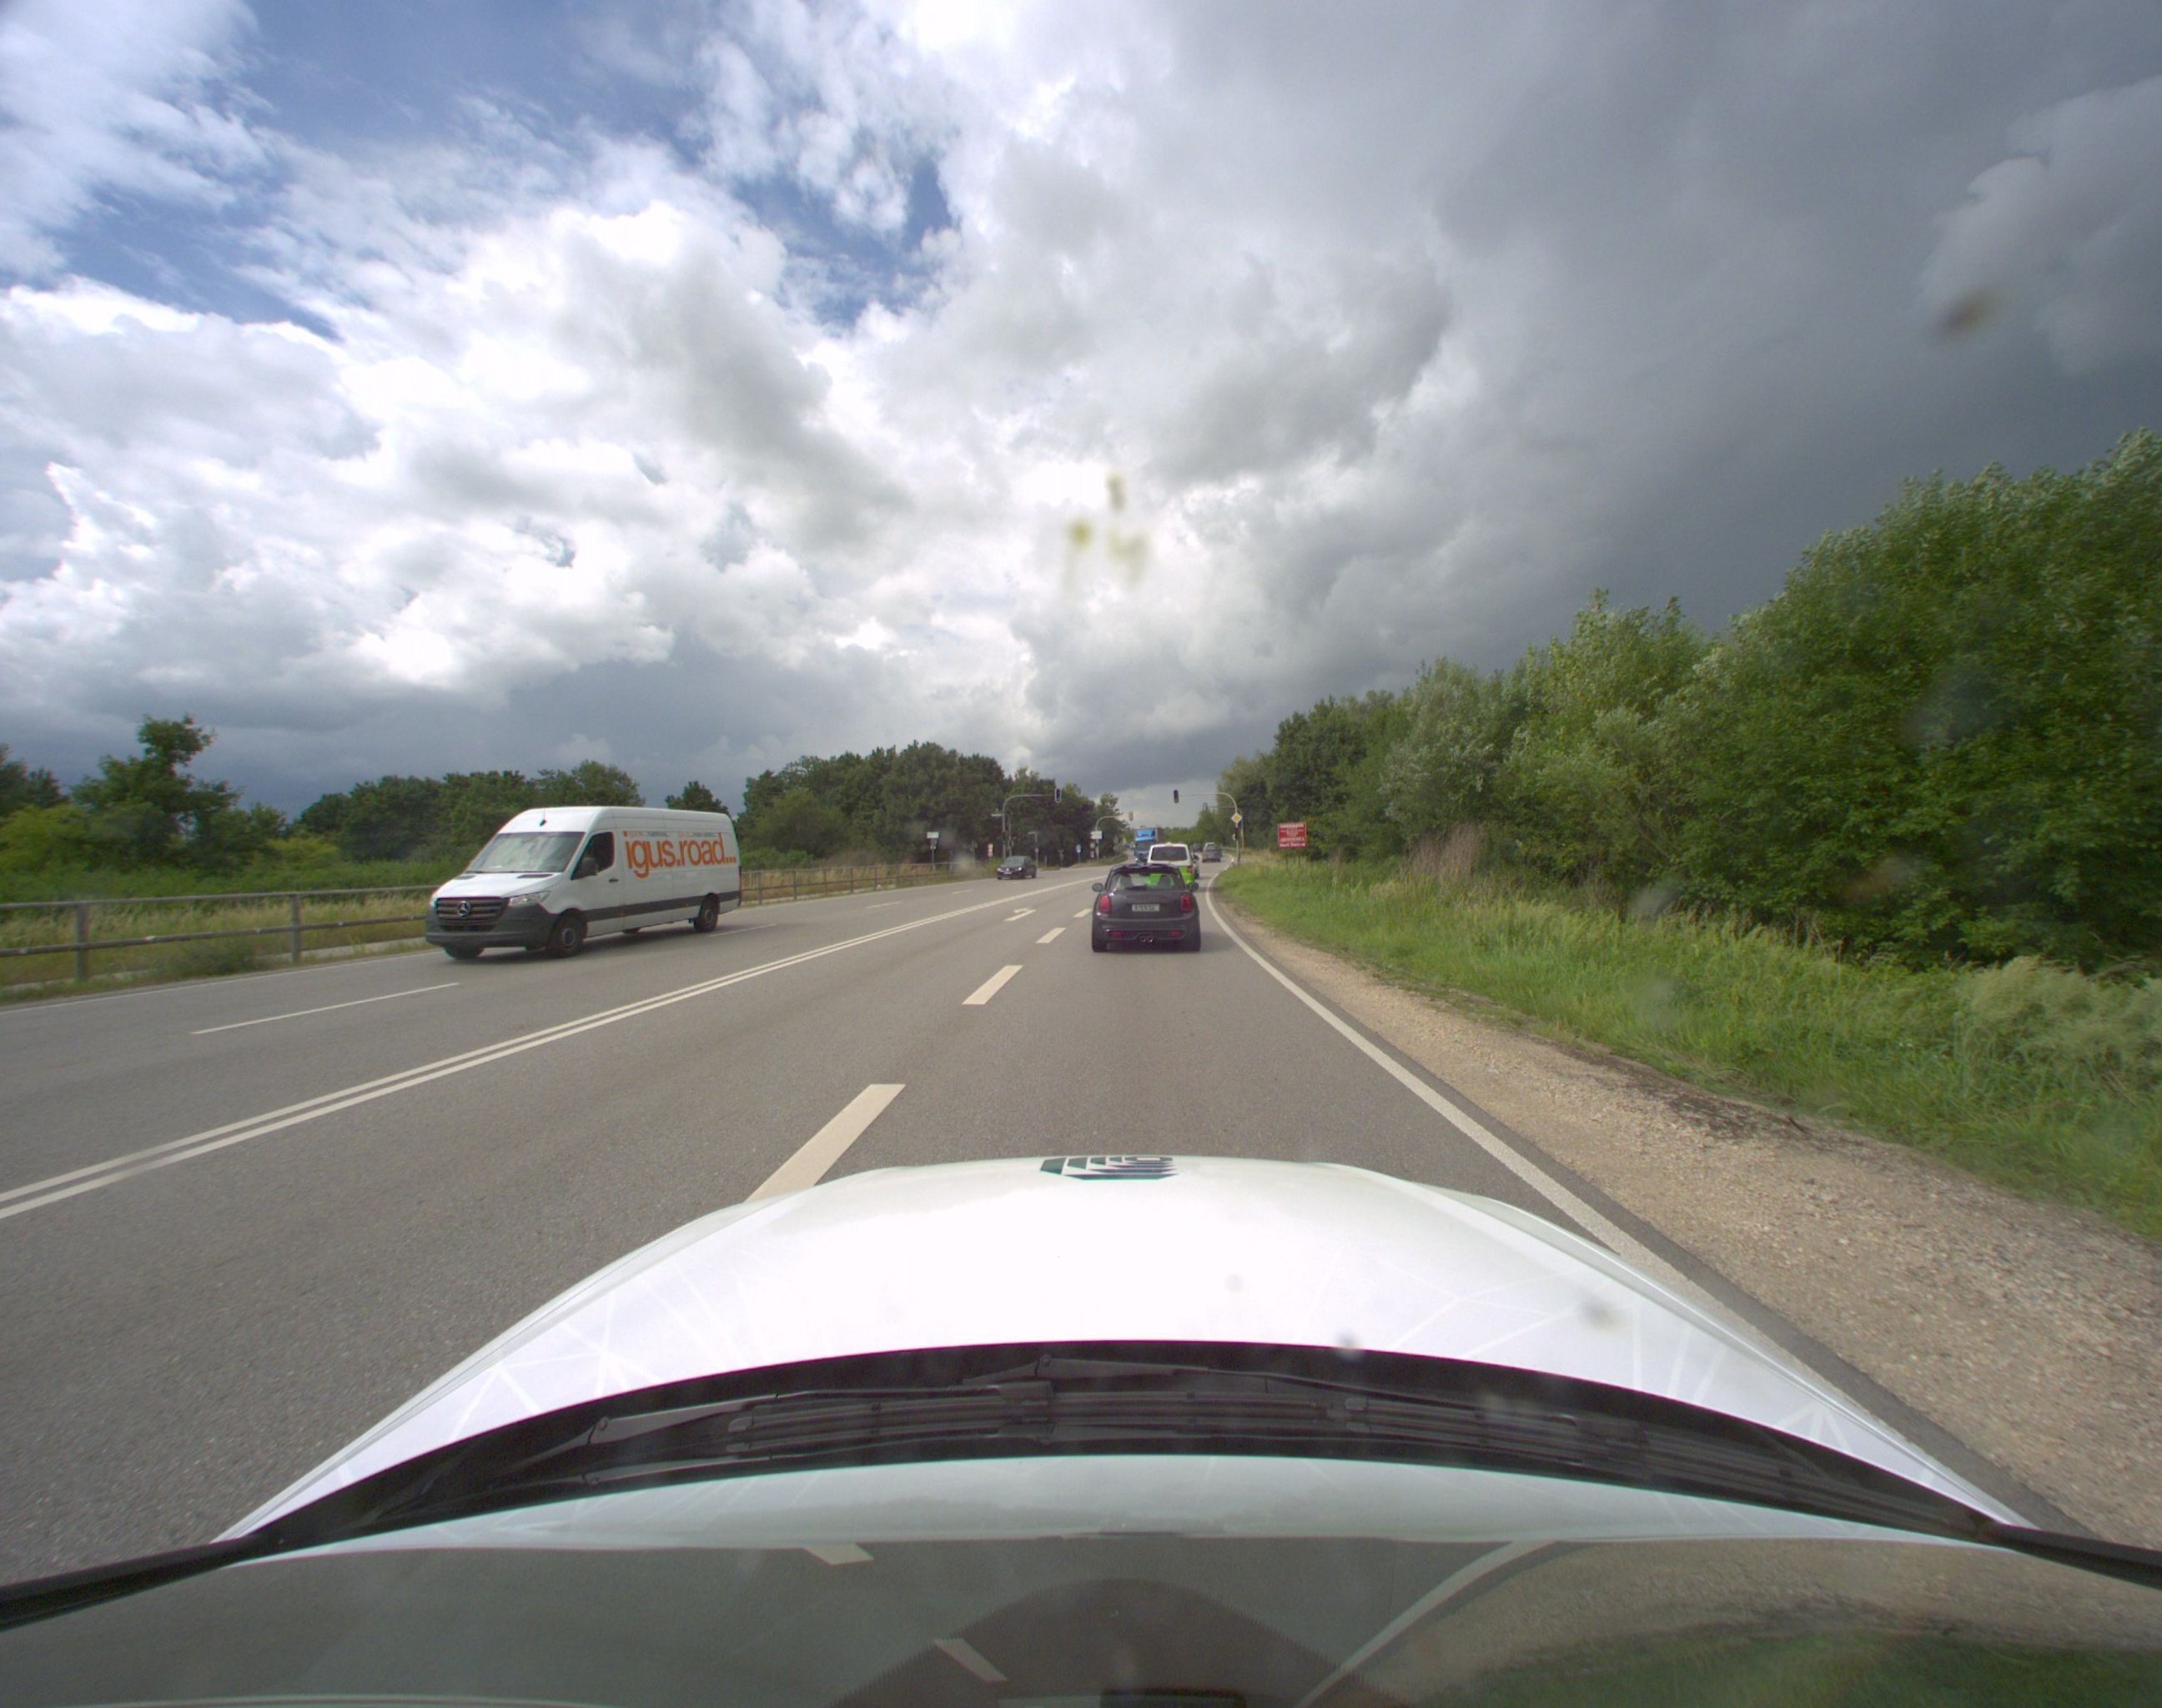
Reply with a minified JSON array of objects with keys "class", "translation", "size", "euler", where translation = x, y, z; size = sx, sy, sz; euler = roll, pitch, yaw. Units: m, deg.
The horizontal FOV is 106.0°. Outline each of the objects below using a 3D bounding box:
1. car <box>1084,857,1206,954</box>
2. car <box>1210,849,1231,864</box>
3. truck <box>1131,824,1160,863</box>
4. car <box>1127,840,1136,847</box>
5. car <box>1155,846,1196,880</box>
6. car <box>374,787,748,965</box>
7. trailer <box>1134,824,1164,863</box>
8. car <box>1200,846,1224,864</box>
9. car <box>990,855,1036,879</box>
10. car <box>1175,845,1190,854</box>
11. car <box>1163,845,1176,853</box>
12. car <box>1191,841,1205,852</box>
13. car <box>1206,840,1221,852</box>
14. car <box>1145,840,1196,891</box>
[{"class":"car","translation":[1.078,0.798,14.376],"size":[1.837,1.428,3.844],"euler":[-1,0,3]},{"class":"car","translation":[16.784,0.312,98.154],"size":[1.978,1.684,3.994],"euler":[-1,-2,17]},{"class":"truck","translation":[7.041,-1.151,88.938],"size":[2.523,4.096,4.013],"euler":[-1,0,12]},{"class":"car","translation":[15.078,-3.143,243.761],"size":[2.176,2.014,3.994],"euler":[-1,-2,-3]},{"class":"car","translation":[5.188,0.500,44.214],"size":[1.982,1.684,4.010],"euler":[-2,-1,9]},{"class":"car","translation":[-9.357,0.363,15.863],"size":[2.422,2.674,6.896],"euler":[-1,0,4]},{"class":"trailer","translation":[7.740,-1.158,92.219],"size":[2.511,4.101,6.757],"euler":[-1,0,12]},{"class":"car","translation":[13.318,0.134,82.817],"size":[1.979,1.684,4.016],"euler":[-1,-2,15]},{"class":"car","translation":[-4.255,0.782,51.757],"size":[1.934,1.441,4.011],"euler":[-1,0,9]},{"class":"car","translation":[19.221,-0.897,154.619],"size":[1.989,1.695,4.480],"euler":[-1,0,-3]},{"class":"car","translation":[18.674,-1.005,171.842],"size":[1.990,1.695,4.477],"euler":[-1,0,-5]},{"class":"car","translation":[19.878,-1.326,138.753],"size":[1.985,1.684,4.003],"euler":[0,-2,4]},{"class":"car","translation":[19.270,-1.158,118.125],"size":[1.981,1.684,4.011],"euler":[0,-2,10]},{"class":"car","translation":[3.764,0.430,33.704],"size":[1.834,1.987,3.851],"euler":[-1,0,9]}]
